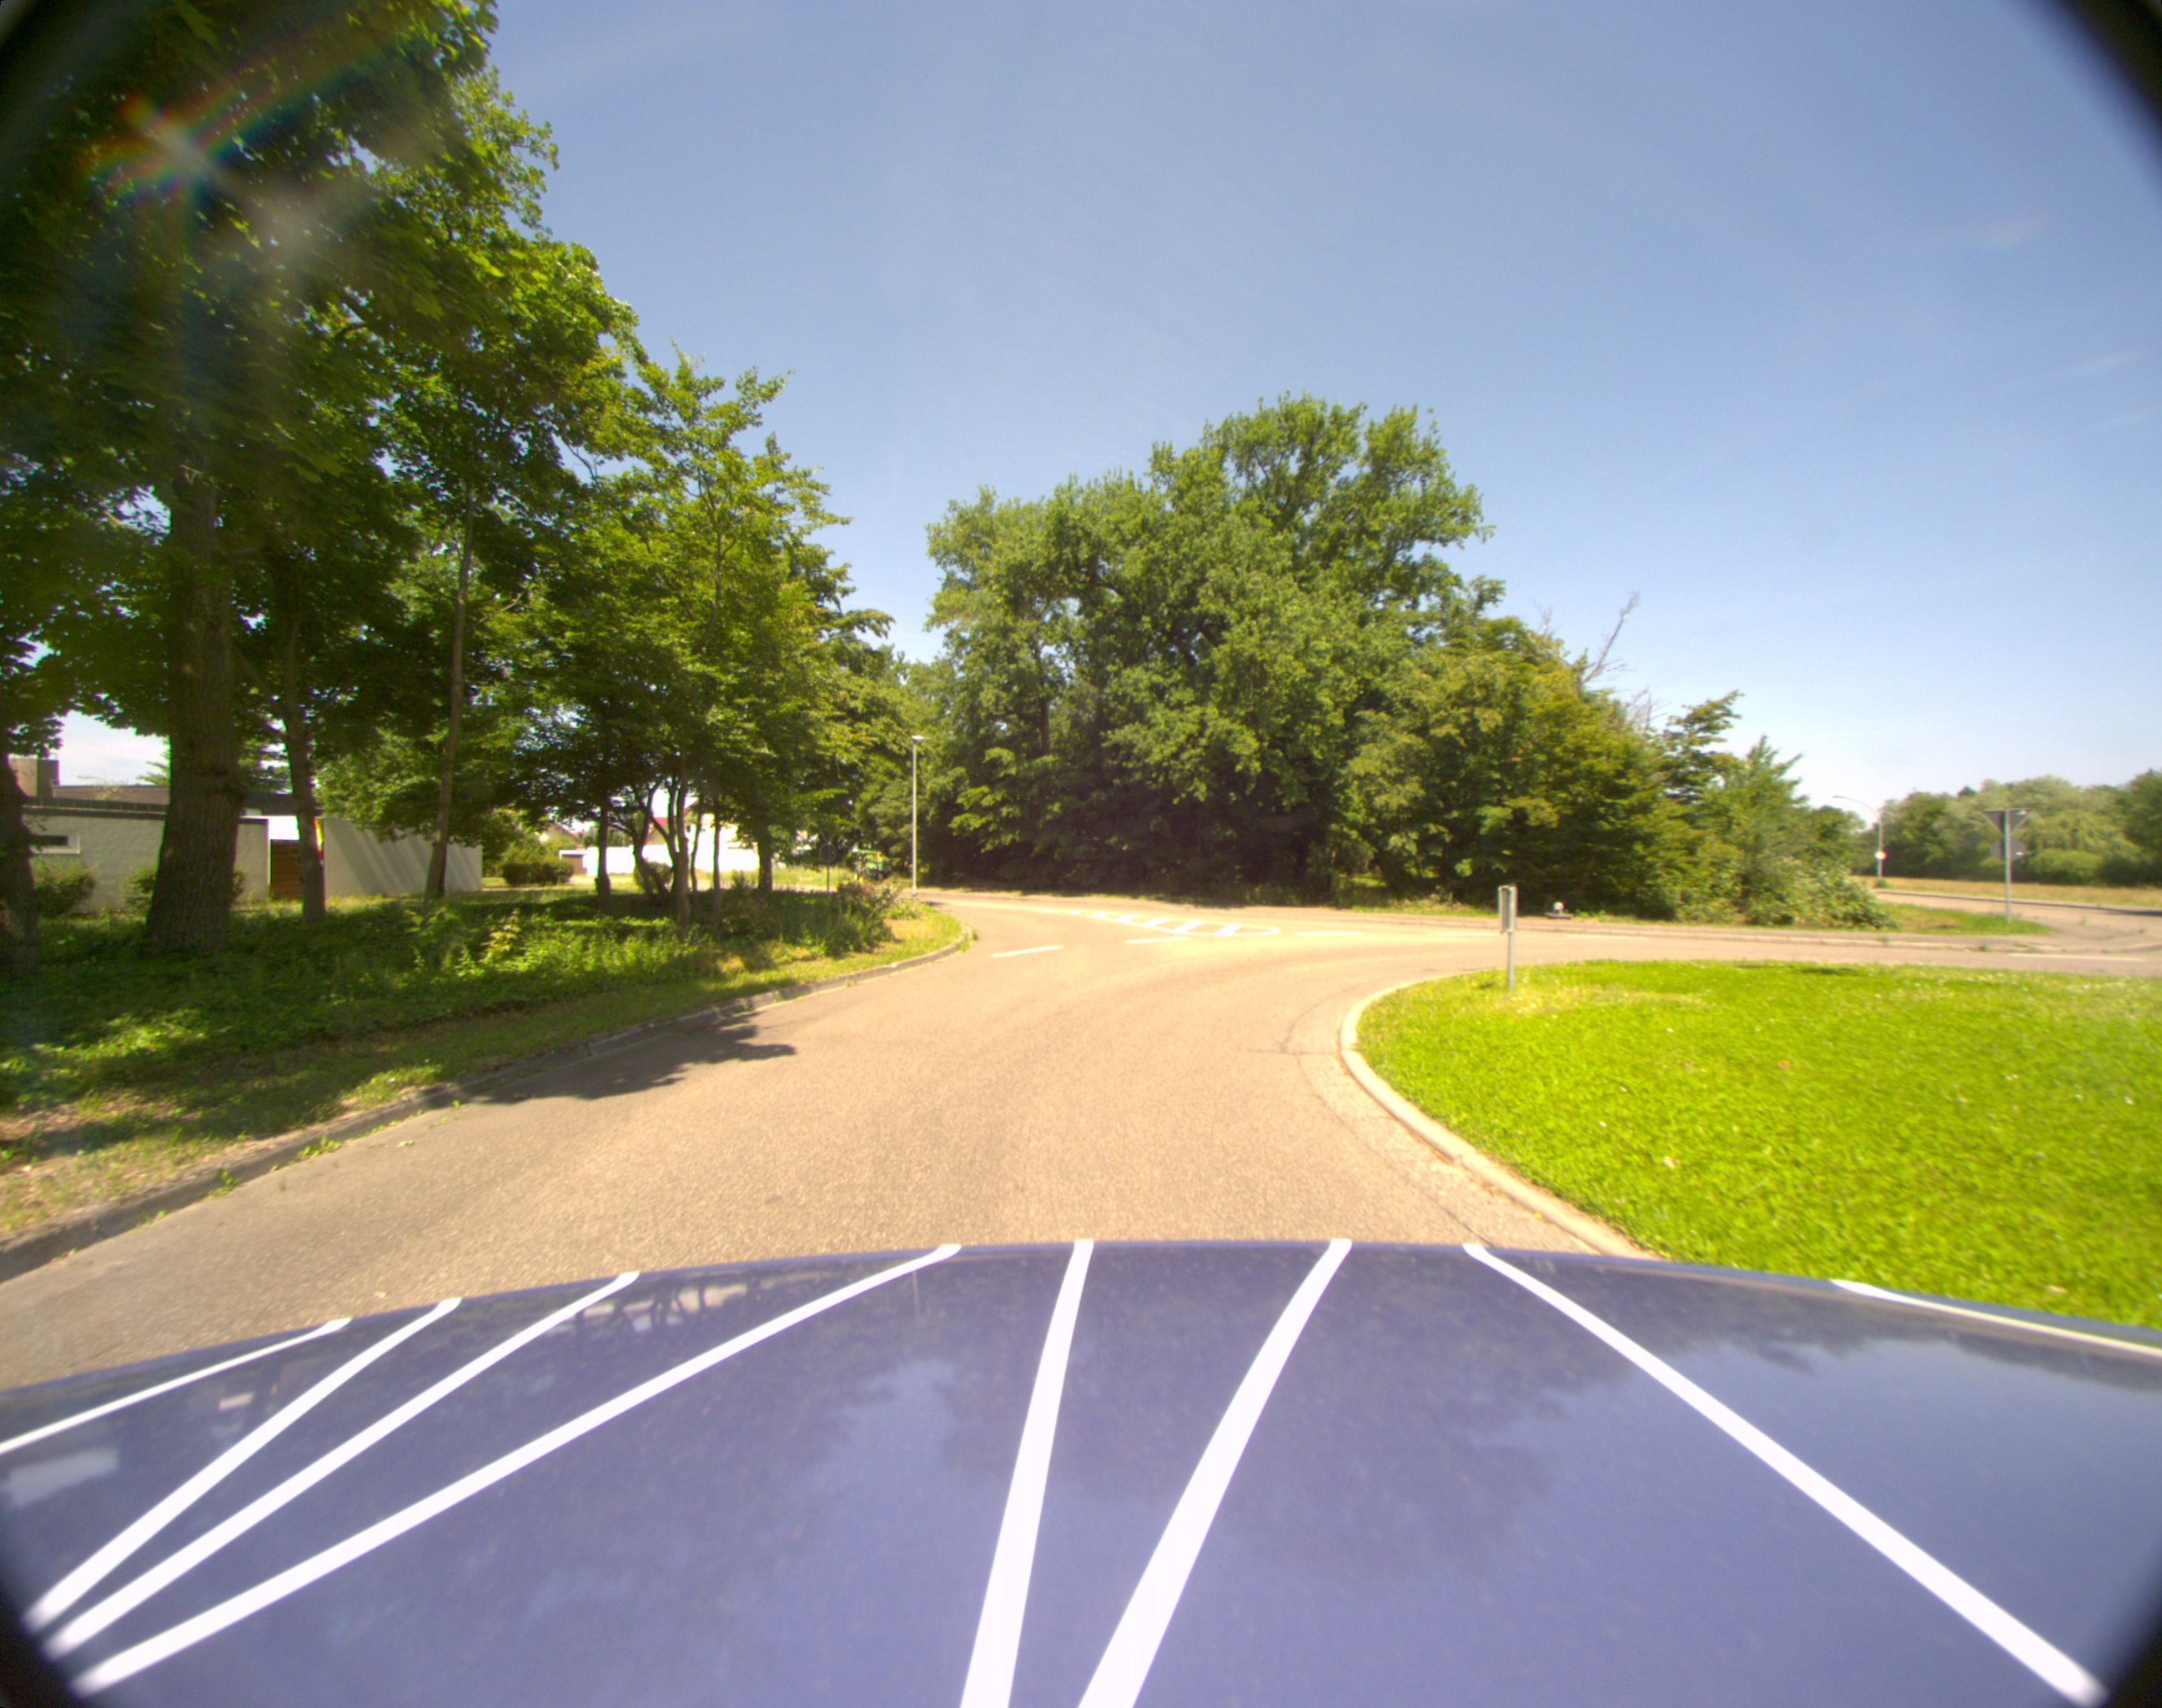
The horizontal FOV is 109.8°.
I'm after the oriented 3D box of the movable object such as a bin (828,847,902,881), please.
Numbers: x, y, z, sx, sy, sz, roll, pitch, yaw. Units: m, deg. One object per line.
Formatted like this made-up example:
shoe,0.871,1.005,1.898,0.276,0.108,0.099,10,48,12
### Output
movable object such as a bin,-15.336,0.699,53.906,5.224,2.263,2.529,0,0,39
